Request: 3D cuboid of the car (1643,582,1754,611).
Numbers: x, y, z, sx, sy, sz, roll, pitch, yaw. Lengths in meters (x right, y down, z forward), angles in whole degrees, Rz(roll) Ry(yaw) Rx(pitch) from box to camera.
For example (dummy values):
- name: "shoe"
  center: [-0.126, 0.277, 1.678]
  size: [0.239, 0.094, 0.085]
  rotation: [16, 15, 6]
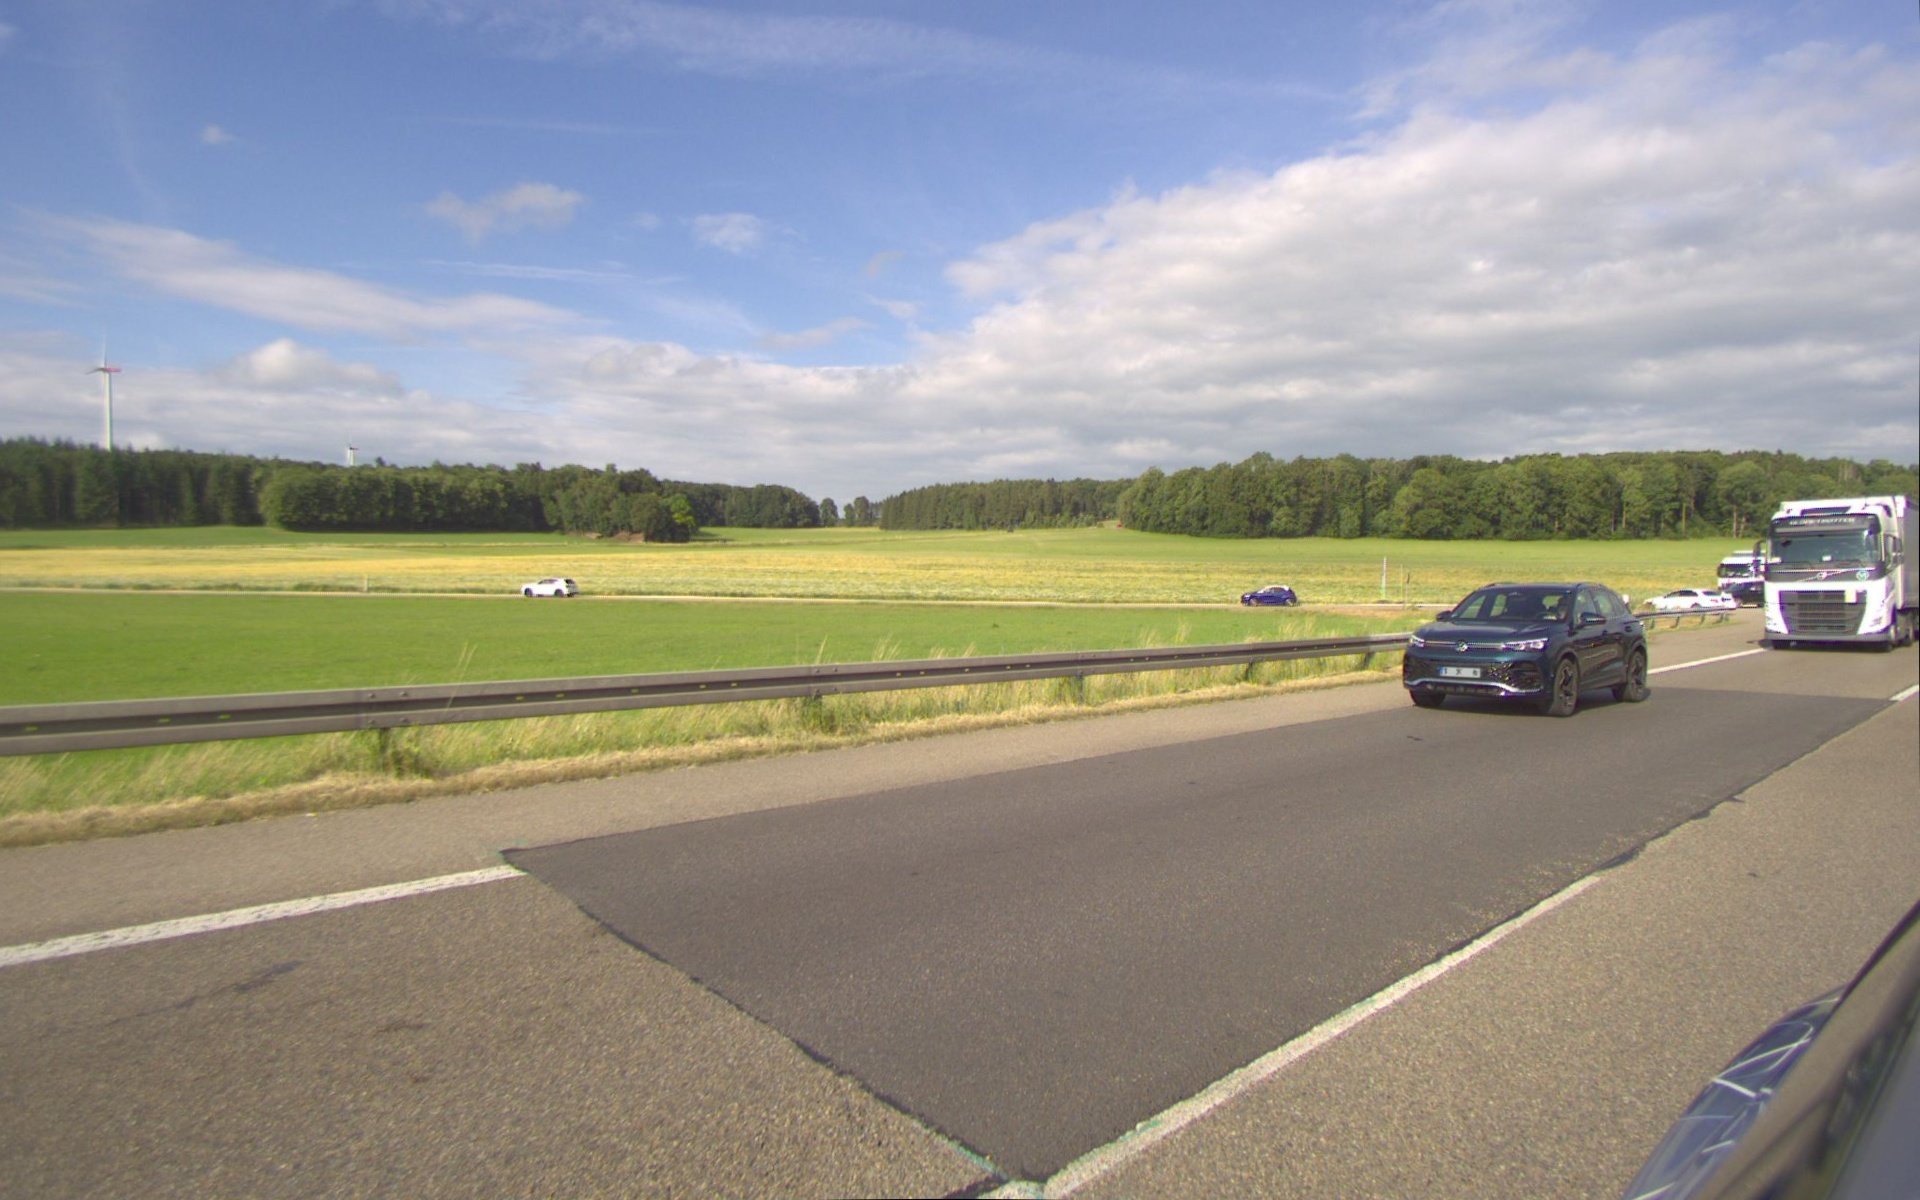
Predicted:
- name: "car"
  center: [42.437, -0.216, 58.326]
  size: [1.958, 1.565, 5.091]
  rotation: [-1, 1, -14]

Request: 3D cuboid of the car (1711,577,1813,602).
- name: "car"
  center: [53.690, -0.695, 67.842]
  size: [5.034, 1.576, 1.996]
  rotation: [0, 0, 8]

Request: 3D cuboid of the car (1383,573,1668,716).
- name: "car"
  center: [7.606, 0.466, 13.482]
  size: [4.046, 1.616, 1.998]
  rotation: [-1, 1, -40]

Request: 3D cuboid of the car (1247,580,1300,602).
- name: "car"
  center: [22.694, -0.622, 73.334]
  size: [3.505, 1.549, 1.719]
  rotation: [0, 0, 12]

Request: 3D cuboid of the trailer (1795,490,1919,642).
- name: "trailer"
  center: [29.345, -0.996, 31.642]
  size: [11.913, 4.032, 2.825]
  rotation: [-1, 1, -40]

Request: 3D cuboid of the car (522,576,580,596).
- name: "car"
  center: [-33.664, -1.134, 83.360]
  size: [3.931, 1.638, 1.996]
  rotation: [0, 0, 7]

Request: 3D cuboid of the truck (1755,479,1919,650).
- name: "truck"
  center: [23.885, -0.897, 27.062]
  size: [6.385, 4.040, 2.841]
  rotation: [-1, 0, -40]
